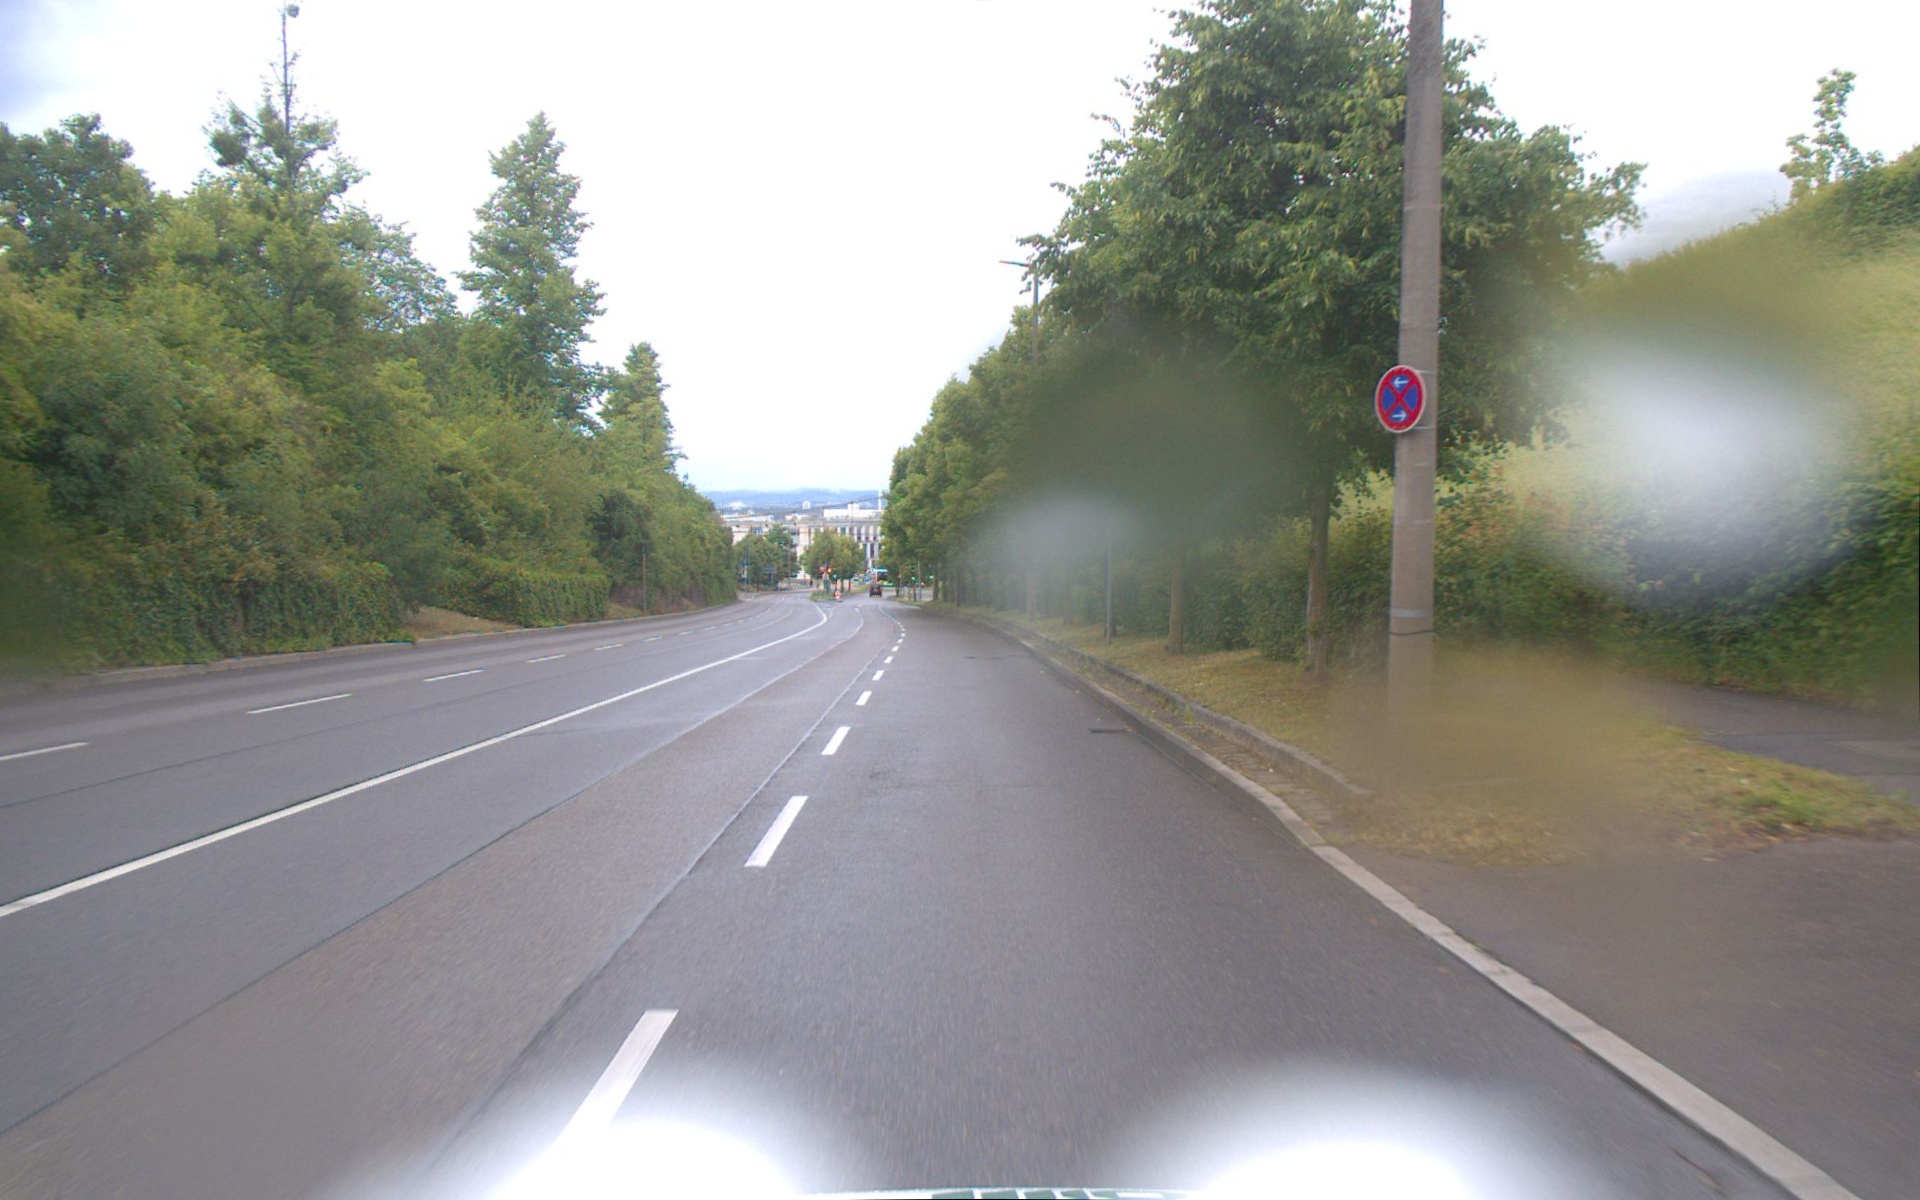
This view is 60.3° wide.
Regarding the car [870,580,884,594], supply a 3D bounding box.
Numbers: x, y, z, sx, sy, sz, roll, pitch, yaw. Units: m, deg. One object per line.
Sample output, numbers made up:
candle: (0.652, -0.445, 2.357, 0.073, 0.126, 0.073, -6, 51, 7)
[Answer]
car: (-11.331, -1.776, 225.677, 1.812, 1.731, 3.791, 2, -1, -2)
